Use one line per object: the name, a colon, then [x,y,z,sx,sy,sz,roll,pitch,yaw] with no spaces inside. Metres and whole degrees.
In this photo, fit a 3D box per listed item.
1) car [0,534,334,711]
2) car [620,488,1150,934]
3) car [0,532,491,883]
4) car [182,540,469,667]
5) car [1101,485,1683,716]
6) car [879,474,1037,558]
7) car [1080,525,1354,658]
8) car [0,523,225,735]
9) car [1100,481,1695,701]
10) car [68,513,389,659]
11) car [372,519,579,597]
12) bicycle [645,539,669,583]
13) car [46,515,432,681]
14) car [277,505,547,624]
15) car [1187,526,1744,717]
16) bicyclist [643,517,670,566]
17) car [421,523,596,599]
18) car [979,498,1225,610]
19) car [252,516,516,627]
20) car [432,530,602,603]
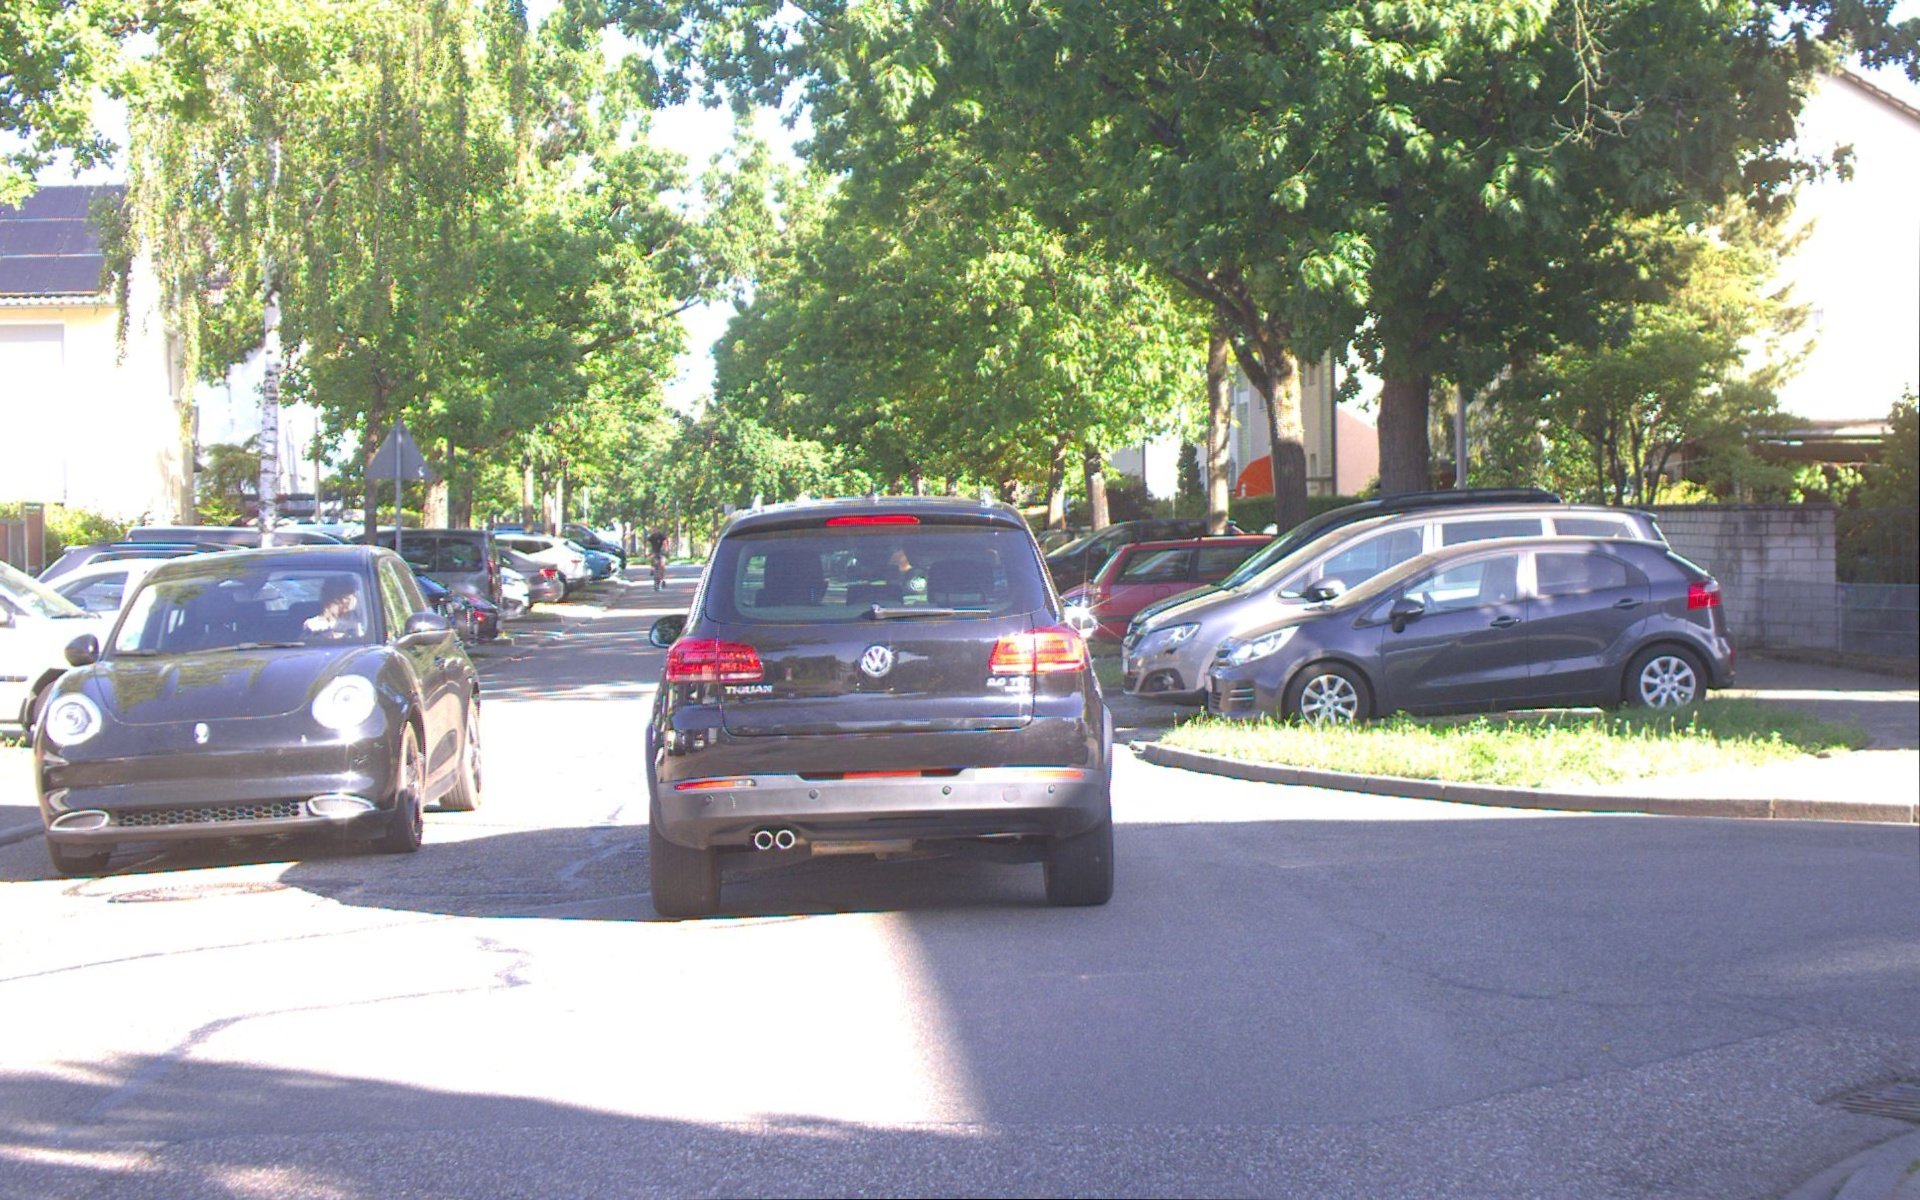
car: [-8.300,0.202,33.627,3.987,1.634,2.000,-1,1,0]
car: [-0.496,0.364,15.041,1.929,1.649,4.515,1,1,-6]
car: [-3.631,0.461,18.078,1.909,1.550,4.001,-3,1,-3]
car: [-7.892,0.027,42.994,3.370,1.485,1.644,-1,1,-6]
car: [3.589,-0.014,29.141,4.632,1.803,1.824,-1,1,-2]
car: [-0.077,-2.159,88.932,3.987,2.007,2.000,-1,-1,-1]
car: [3.048,-0.112,40.985,3.043,1.502,1.247,-1,1,-8]
car: [-8.260,0.228,28.284,3.987,1.664,2.000,-1,1,-1]
car: [4.020,-0.104,32.193,5.259,1.939,2.000,-1,1,-2]
car: [-9.700,-0.204,45.806,3.986,1.830,1.638,-1,1,-6]
car: [-9.942,-0.855,70.764,3.987,1.493,2.000,-1,-1,-1]
bicycle: [-8.440,-1.079,95.658,0.637,1.159,1.741,-1,-1,-6]
car: [-7.981,-0.043,38.394,3.986,1.725,2.000,-1,1,-5]
car: [-9.196,-0.599,57.930,4.389,1.932,1.579,-1,0,-6]
car: [3.851,0.141,26.651,3.986,1.364,1.847,-1,1,-2]
bicyclist: [-8.447,-1.635,95.630,0.700,1.341,0.506,-1,-1,-6]
car: [-10.644,-0.924,80.885,3.986,1.678,1.924,-1,1,-10]
car: [2.343,-0.777,57.445,3.987,1.769,1.790,-1,1,-1]
car: [-9.249,-0.448,55.457,3.986,1.714,1.821,-1,0,-2]
car: [-10.752,-0.826,83.286,3.986,1.678,2.001,-1,1,-10]
